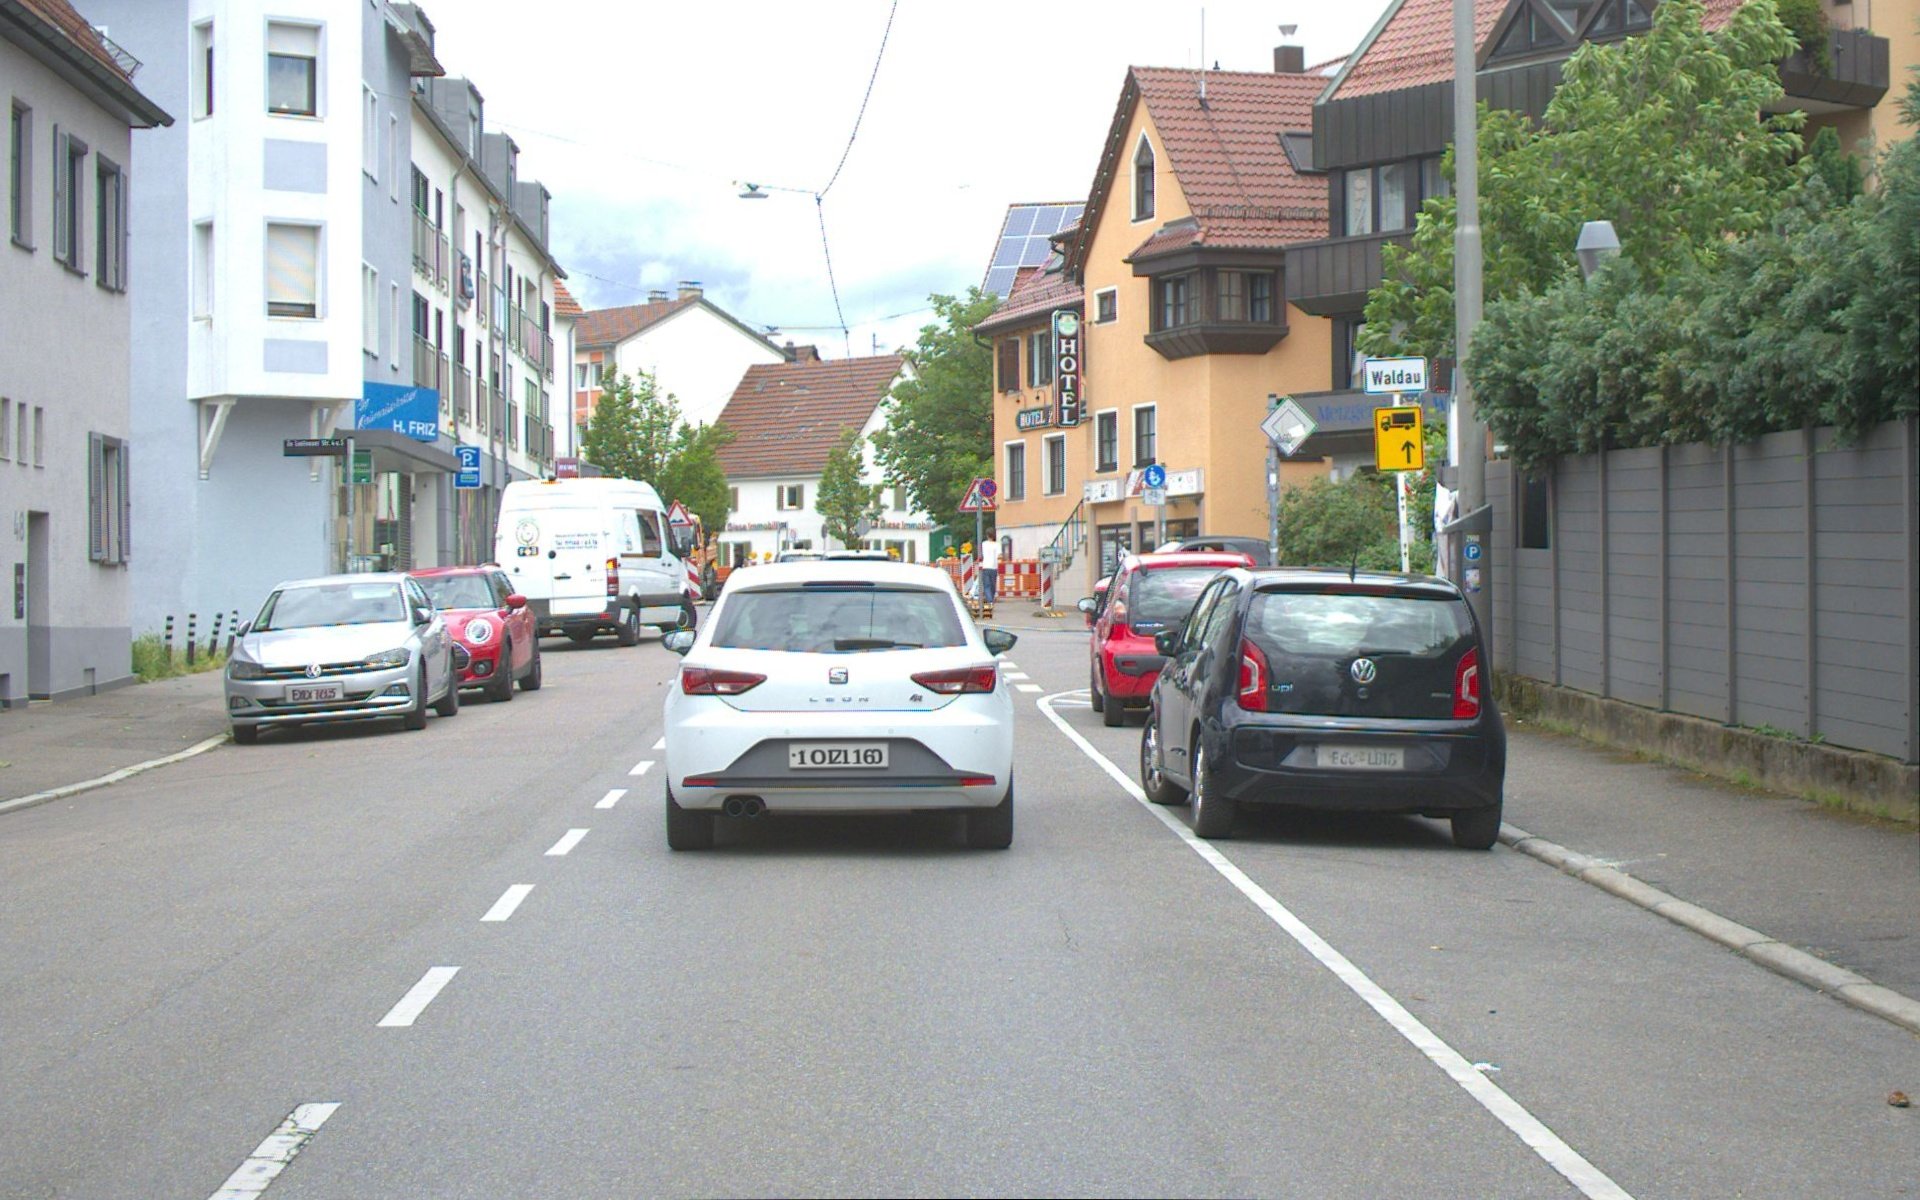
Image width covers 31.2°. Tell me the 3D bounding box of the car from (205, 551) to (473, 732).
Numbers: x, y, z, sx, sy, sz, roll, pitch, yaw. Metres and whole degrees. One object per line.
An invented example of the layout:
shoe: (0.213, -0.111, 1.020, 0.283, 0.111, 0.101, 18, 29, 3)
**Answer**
car: (-5.697, 0.335, 31.975, 1.799, 1.474, 4.051, -3, 1, -2)

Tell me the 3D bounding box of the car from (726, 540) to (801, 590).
car: (-6.795, -1.238, 119.443, 1.795, 1.696, 3.999, 0, 1, 9)

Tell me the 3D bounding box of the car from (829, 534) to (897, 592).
car: (-2.536, -0.993, 90.595, 1.761, 1.492, 3.789, 0, 1, -1)

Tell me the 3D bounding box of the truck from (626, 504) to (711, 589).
truck: (-8.713, -1.627, 103.127, 2.152, 2.451, 5.395, 1, 1, -1)

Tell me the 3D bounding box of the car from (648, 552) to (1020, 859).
car: (-0.640, 0.473, 18.371, 1.758, 1.447, 4.000, 0, 1, -1)

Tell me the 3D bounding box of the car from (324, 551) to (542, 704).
car: (-5.682, 0.259, 37.506, 1.799, 1.474, 4.051, -3, 1, -2)

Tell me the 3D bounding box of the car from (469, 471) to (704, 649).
car: (-5.885, -0.664, 54.904, 2.153, 2.677, 5.542, 1, 1, 11)

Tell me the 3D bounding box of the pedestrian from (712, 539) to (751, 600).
pedestrian: (-7.551, -1.027, 113.632, 1.228, 2.007, 1.176, 0, 1, -1)

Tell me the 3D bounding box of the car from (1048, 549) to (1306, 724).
car: (1.869, 0.273, 30.718, 1.758, 1.447, 4.001, 0, 1, -4)

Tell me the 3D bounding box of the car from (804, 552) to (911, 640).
car: (-1.753, -0.096, 59.316, 1.758, 1.447, 4.000, 0, 1, -1)

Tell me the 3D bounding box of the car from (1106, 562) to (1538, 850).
car: (1.943, 0.521, 19.619, 1.758, 1.447, 4.001, 0, 1, -4)

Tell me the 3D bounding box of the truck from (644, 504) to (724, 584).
truck: (-8.713, -1.799, 109.038, 2.152, 2.451, 5.395, 1, 1, -1)

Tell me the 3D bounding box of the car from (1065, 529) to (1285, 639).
car: (3.121, -0.246, 50.212, 2.807, 1.507, 1.709, 1, 2, -12)

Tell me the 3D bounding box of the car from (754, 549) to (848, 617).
car: (-3.537, -0.390, 75.952, 1.758, 1.447, 4.001, -1, 1, -7)
